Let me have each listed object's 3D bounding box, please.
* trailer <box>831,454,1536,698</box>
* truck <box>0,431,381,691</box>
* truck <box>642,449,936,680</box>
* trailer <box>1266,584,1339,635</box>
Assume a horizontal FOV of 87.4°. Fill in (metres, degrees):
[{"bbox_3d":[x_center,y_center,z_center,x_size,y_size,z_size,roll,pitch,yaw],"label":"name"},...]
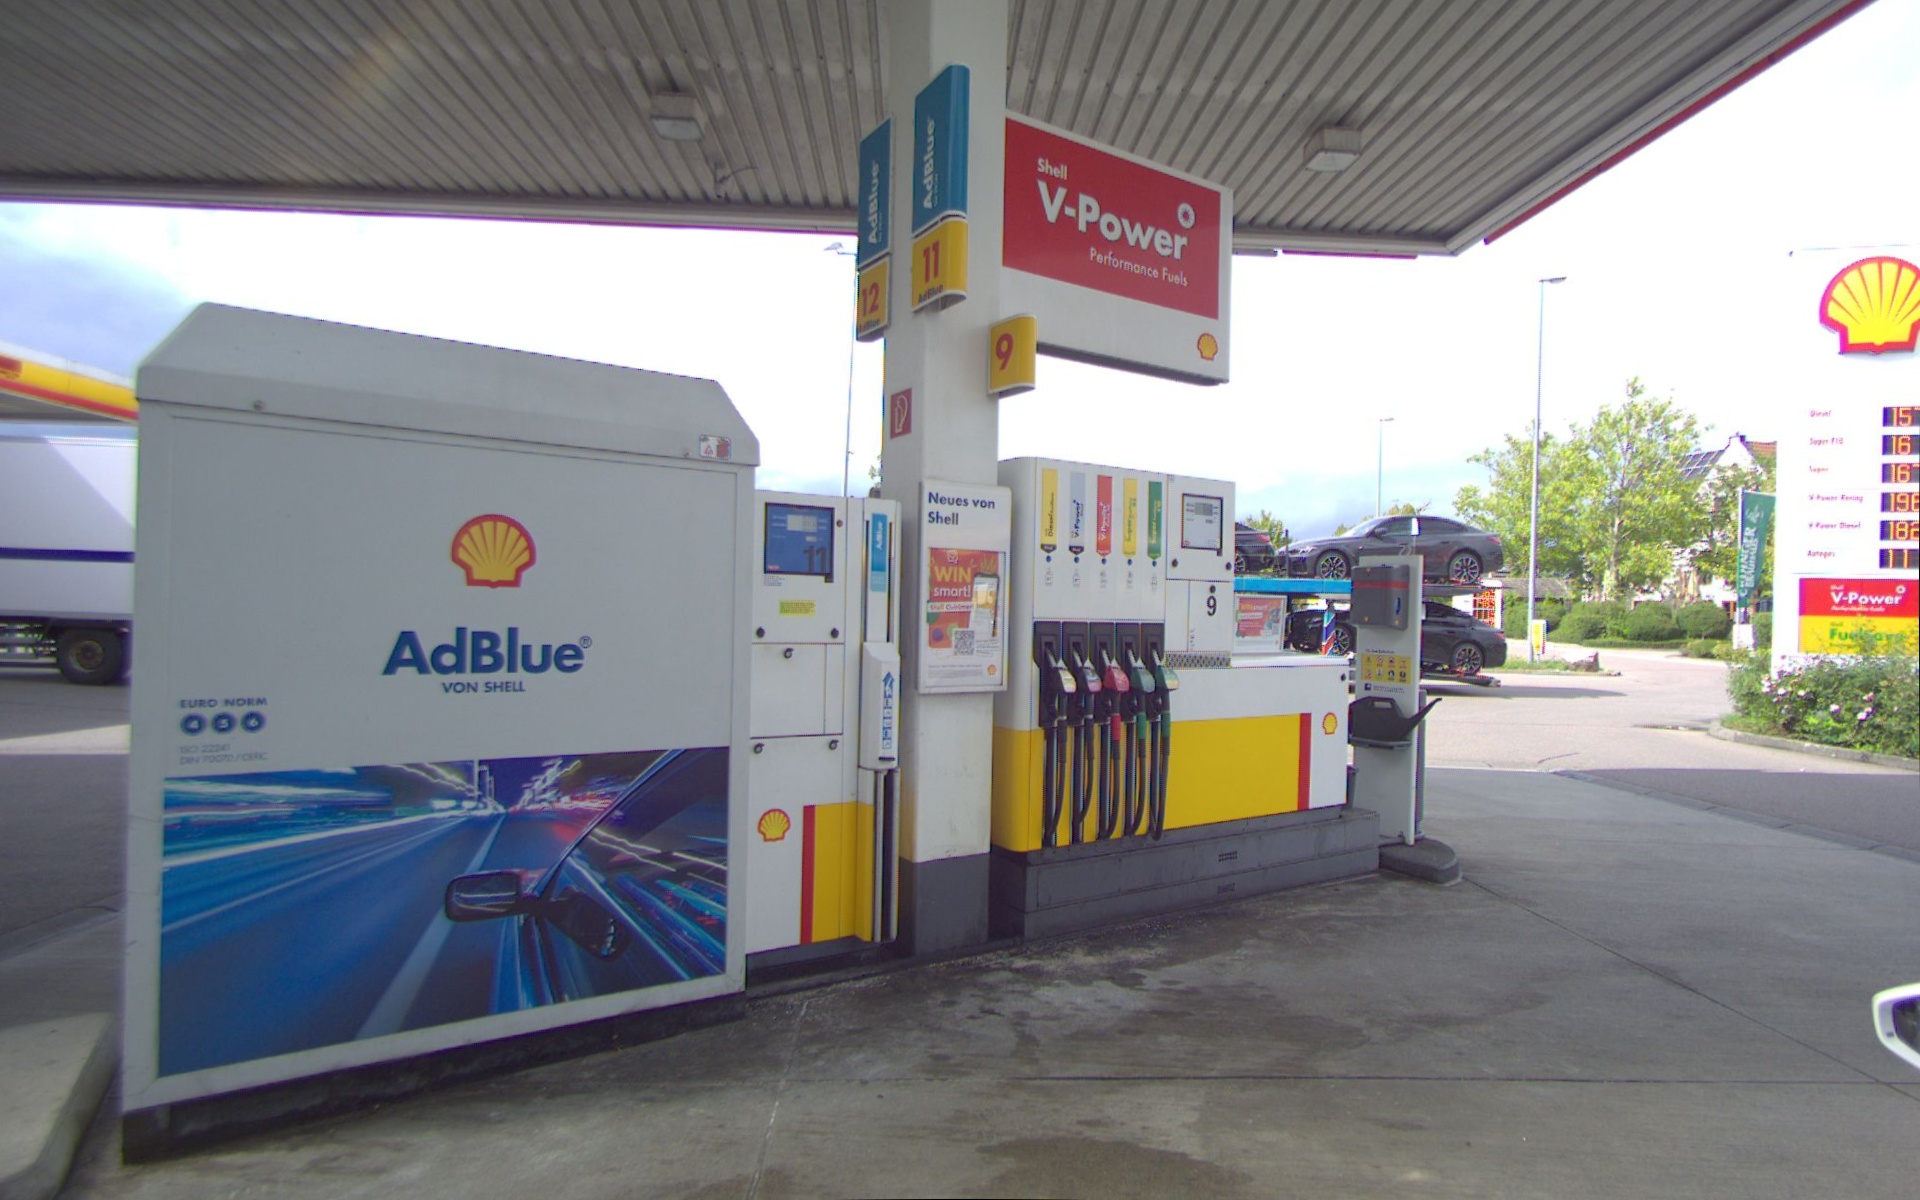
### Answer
[{"bbox_3d":[4.516,-0.469,21.578,14.077,4.481,2.746,2,0,0],"label":"trailer"},{"bbox_3d":[-17.310,-0.739,17.494,12.654,4.092,2.534,2,0,-3],"label":"truck"},{"bbox_3d":[-3.459,-0.705,21.539,5.713,4.479,2.750,2,0,0],"label":"truck"},{"bbox_3d":[28.492,0.785,84.201,2.684,3.826,12.718,2,0,5],"label":"trailer"}]
